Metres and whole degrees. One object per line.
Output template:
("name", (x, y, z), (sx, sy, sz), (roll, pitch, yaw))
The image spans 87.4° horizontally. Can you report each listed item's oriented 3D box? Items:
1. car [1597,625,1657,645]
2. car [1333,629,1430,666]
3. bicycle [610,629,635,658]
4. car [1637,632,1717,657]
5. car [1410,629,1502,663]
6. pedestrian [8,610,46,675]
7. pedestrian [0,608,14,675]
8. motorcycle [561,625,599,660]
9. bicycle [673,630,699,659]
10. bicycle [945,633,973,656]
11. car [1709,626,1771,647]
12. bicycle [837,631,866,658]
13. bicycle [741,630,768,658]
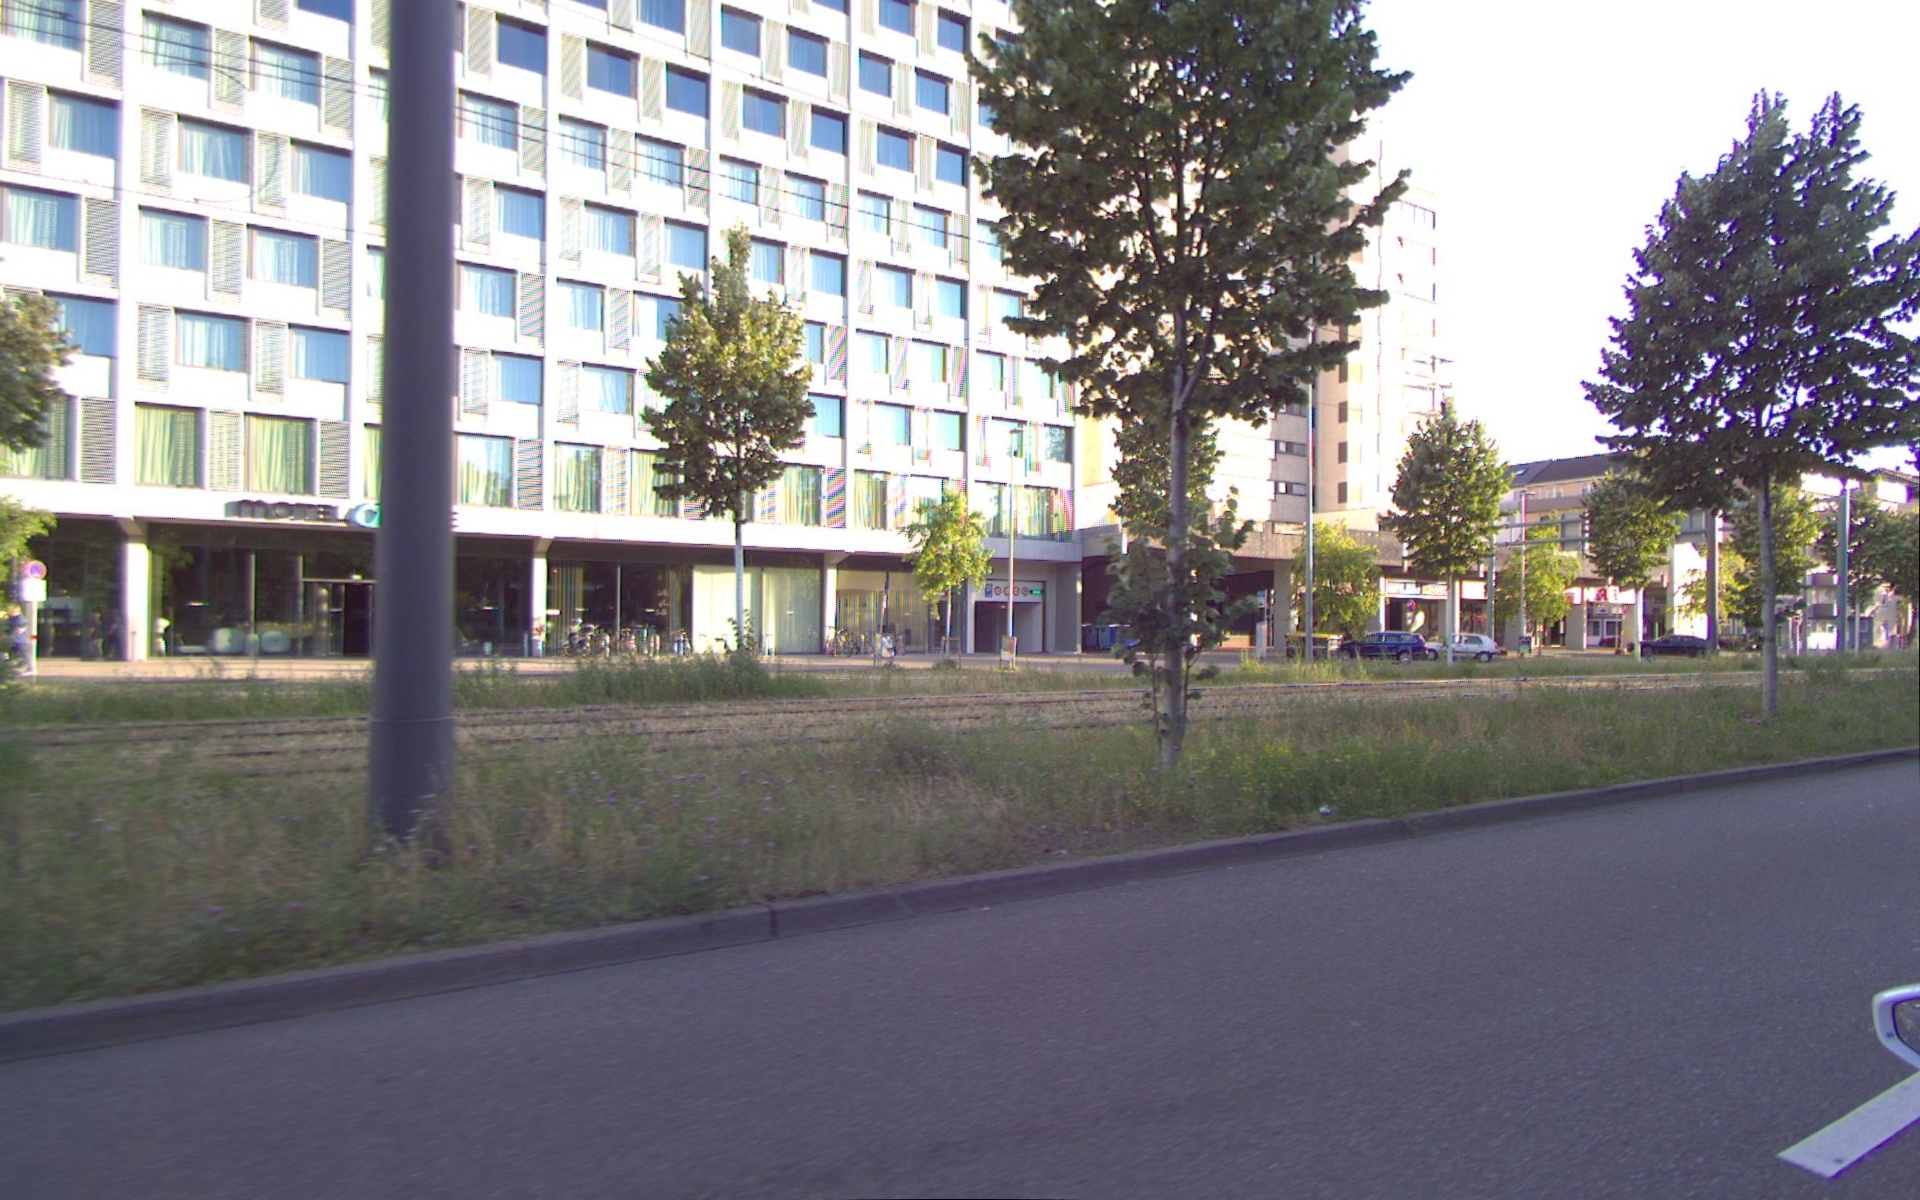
("car", (64.260, 3.360, 96.786), (2.142, 1.792, 4.308), (0, -3, -31))
("car", (20.213, 2.253, 48.340), (4.201, 1.611, 2.009), (0, -1, 21))
("bicycle", (-12.456, 1.602, 37.035), (0.417, 1.033, 1.777), (1, -1, -33))
("car", (44.403, 2.745, 62.288), (3.656, 1.469, 1.745), (0, -2, 18))
("car", (25.500, 2.344, 51.799), (4.050, 1.455, 1.825), (2, 1, 22))
("pedestrian", (-23.851, 1.069, 25.682), (0.596, 1.621, 0.494), (1, 1, -29))
("pedestrian", (-24.527, 1.047, 25.595), (0.510, 1.678, 0.427), (1, 1, -29))
("motorcycle", (-13.560, 1.507, 35.818), (0.512, 1.187, 1.873), (2, -1, -44))
("bicycle", (-10.225, 1.648, 37.499), (0.417, 1.033, 1.732), (1, -1, -33))
("bicycle", (-0.045, 2.049, 46.510), (0.417, 1.033, 1.777), (1, -1, -33))
("car", (70.077, 3.256, 90.274), (2.166, 1.870, 3.915), (1, -2, -30))
("bicycle", (-4.407, 1.790, 40.673), (0.417, 1.033, 1.777), (1, -1, -33))
("bicycle", (-7.971, 1.698, 38.968), (0.417, 1.033, 1.777), (1, -1, -33))
